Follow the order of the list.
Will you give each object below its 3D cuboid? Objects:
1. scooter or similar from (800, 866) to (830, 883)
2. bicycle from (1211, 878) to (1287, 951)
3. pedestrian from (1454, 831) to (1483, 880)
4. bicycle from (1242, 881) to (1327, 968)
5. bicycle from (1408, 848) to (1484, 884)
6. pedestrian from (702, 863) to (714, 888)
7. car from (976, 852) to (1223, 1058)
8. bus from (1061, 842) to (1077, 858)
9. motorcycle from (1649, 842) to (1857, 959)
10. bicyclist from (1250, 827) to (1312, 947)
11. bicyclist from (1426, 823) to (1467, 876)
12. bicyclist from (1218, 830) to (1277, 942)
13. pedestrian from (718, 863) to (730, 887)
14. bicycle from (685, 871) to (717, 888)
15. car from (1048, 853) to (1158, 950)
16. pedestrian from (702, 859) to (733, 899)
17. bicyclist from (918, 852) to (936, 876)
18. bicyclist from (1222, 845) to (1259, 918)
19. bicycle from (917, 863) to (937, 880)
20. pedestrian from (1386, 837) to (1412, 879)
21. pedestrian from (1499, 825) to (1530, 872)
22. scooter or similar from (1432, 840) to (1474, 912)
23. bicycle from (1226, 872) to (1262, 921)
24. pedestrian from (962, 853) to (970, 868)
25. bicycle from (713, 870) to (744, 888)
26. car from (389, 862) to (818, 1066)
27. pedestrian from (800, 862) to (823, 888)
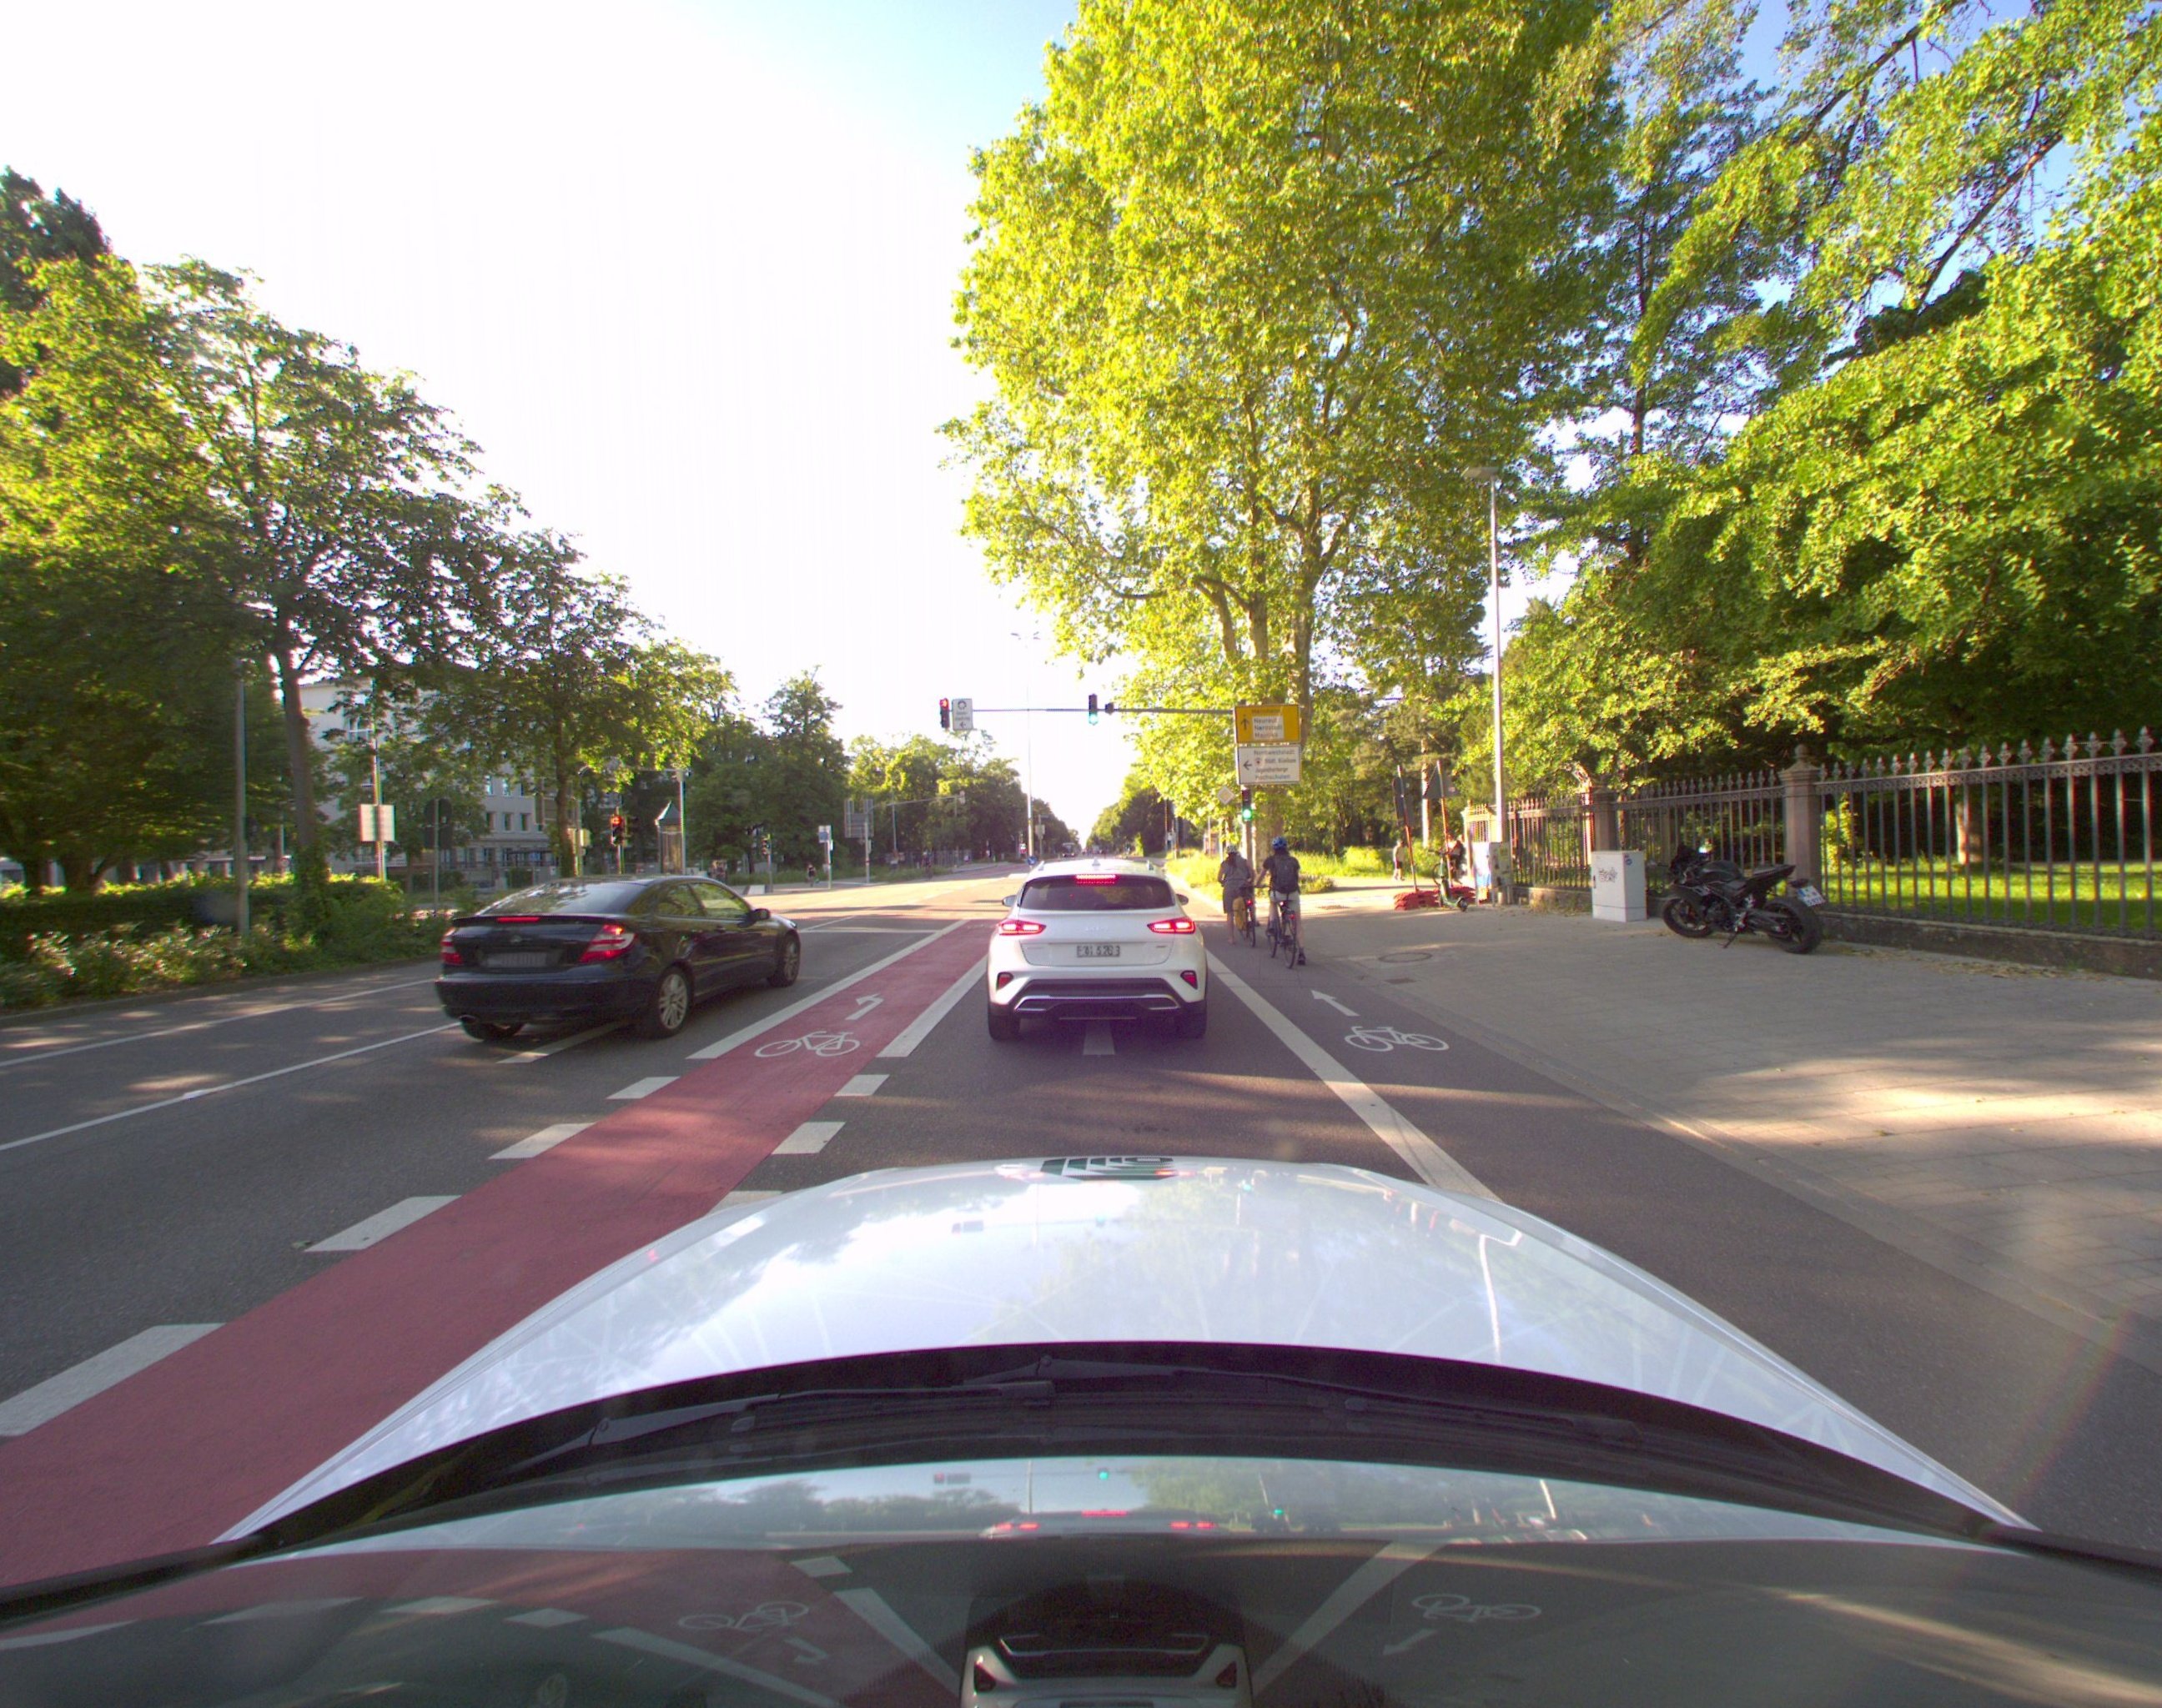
[{"bbox_3d":[-18.588,1.448,57.012,0.703,1.124,1.933,-1,0,34],"label":"scooter or similar"},{"bbox_3d":[2.752,0.951,13.639,0.755,1.013,2.569,0,0,0],"label":"bicycle"},{"bbox_3d":[13.554,0.049,28.486,0.686,1.699,0.644,-1,-1,1],"label":"pedestrian"},{"bbox_3d":[2.766,0.918,11.278,0.666,1.009,2.081,-1,0,0],"label":"bicycle"},{"bbox_3d":[11.496,0.372,25.652,2.094,0.976,0.747,-3,0,-11],"label":"bicycle"},{"bbox_3d":[-25.049,1.434,54.726,0.628,1.642,0.444,-1,-1,-8],"label":"pedestrian"},{"bbox_3d":[0.157,0.752,8.061,1.815,1.480,3.936,-1,0,0],"label":"car"},{"bbox_3d":[-2.936,-0.955,196.209,3.731,3.673,13.232,-2,0,-1],"label":"bus"},{"bbox_3d":[7.422,0.468,9.163,0.504,1.131,2.170,-4,0,0],"label":"motorcycle"},{"bbox_3d":[2.760,0.437,11.292,0.663,1.602,0.721,-1,0,0],"label":"bicyclist"},{"bbox_3d":[11.501,-0.131,25.657,0.847,1.613,0.733,-3,0,-11],"label":"bicyclist"},{"bbox_3d":[2.751,0.510,13.581,0.750,1.795,1.165,0,0,0],"label":"bicyclist"},{"bbox_3d":[-23.949,1.403,54.595,0.628,1.580,0.444,-1,-1,-8],"label":"pedestrian"},{"bbox_3d":[-25.704,1.732,55.092,1.859,1.148,0.442,-1,-1,-6],"label":"bicycle"},{"bbox_3d":[0.364,0.768,14.996,1.723,1.483,3.516,-3,0,0],"label":"car"},{"bbox_3d":[-18.805,1.296,42.151,0.990,2.014,1.193,-1,-1,7],"label":"pedestrian"},{"bbox_3d":[-10.365,0.664,54.816,0.871,1.608,1.189,-3,0,4],"label":"bicyclist"},{"bbox_3d":[3.418,0.581,17.480,0.552,1.478,0.717,-5,-1,0],"label":"bicyclist"},{"bbox_3d":[-10.349,1.165,54.701,0.660,0.989,2.507,-3,0,4],"label":"bicycle"},{"bbox_3d":[11.772,0.156,30.117,0.811,1.518,0.921,-1,-1,24],"label":"pedestrian"},{"bbox_3d":[15.846,-0.195,29.759,0.819,1.681,0.696,-2,-1,15],"label":"pedestrian"},{"bbox_3d":[7.190,0.409,15.771,0.227,1.327,1.172,-3,0,0],"label":"scooter or similar"},{"bbox_3d":[3.473,0.887,17.454,0.400,0.956,1.551,-5,0,1],"label":"bicycle"},{"bbox_3d":[-13.650,0.809,96.845,0.782,1.785,0.751,-1,-1,2],"label":"pedestrian"},{"bbox_3d":[-23.647,1.682,54.661,1.859,1.148,0.290,-1,-1,-6],"label":"bicycle"},{"bbox_3d":[-4.311,0.860,8.310,1.698,1.405,4.266,-3,0,2],"label":"car"},{"bbox_3d":[-17.176,1.329,51.908,1.086,1.603,0.999,-3,0,-5],"label":"pedestrian"}]
